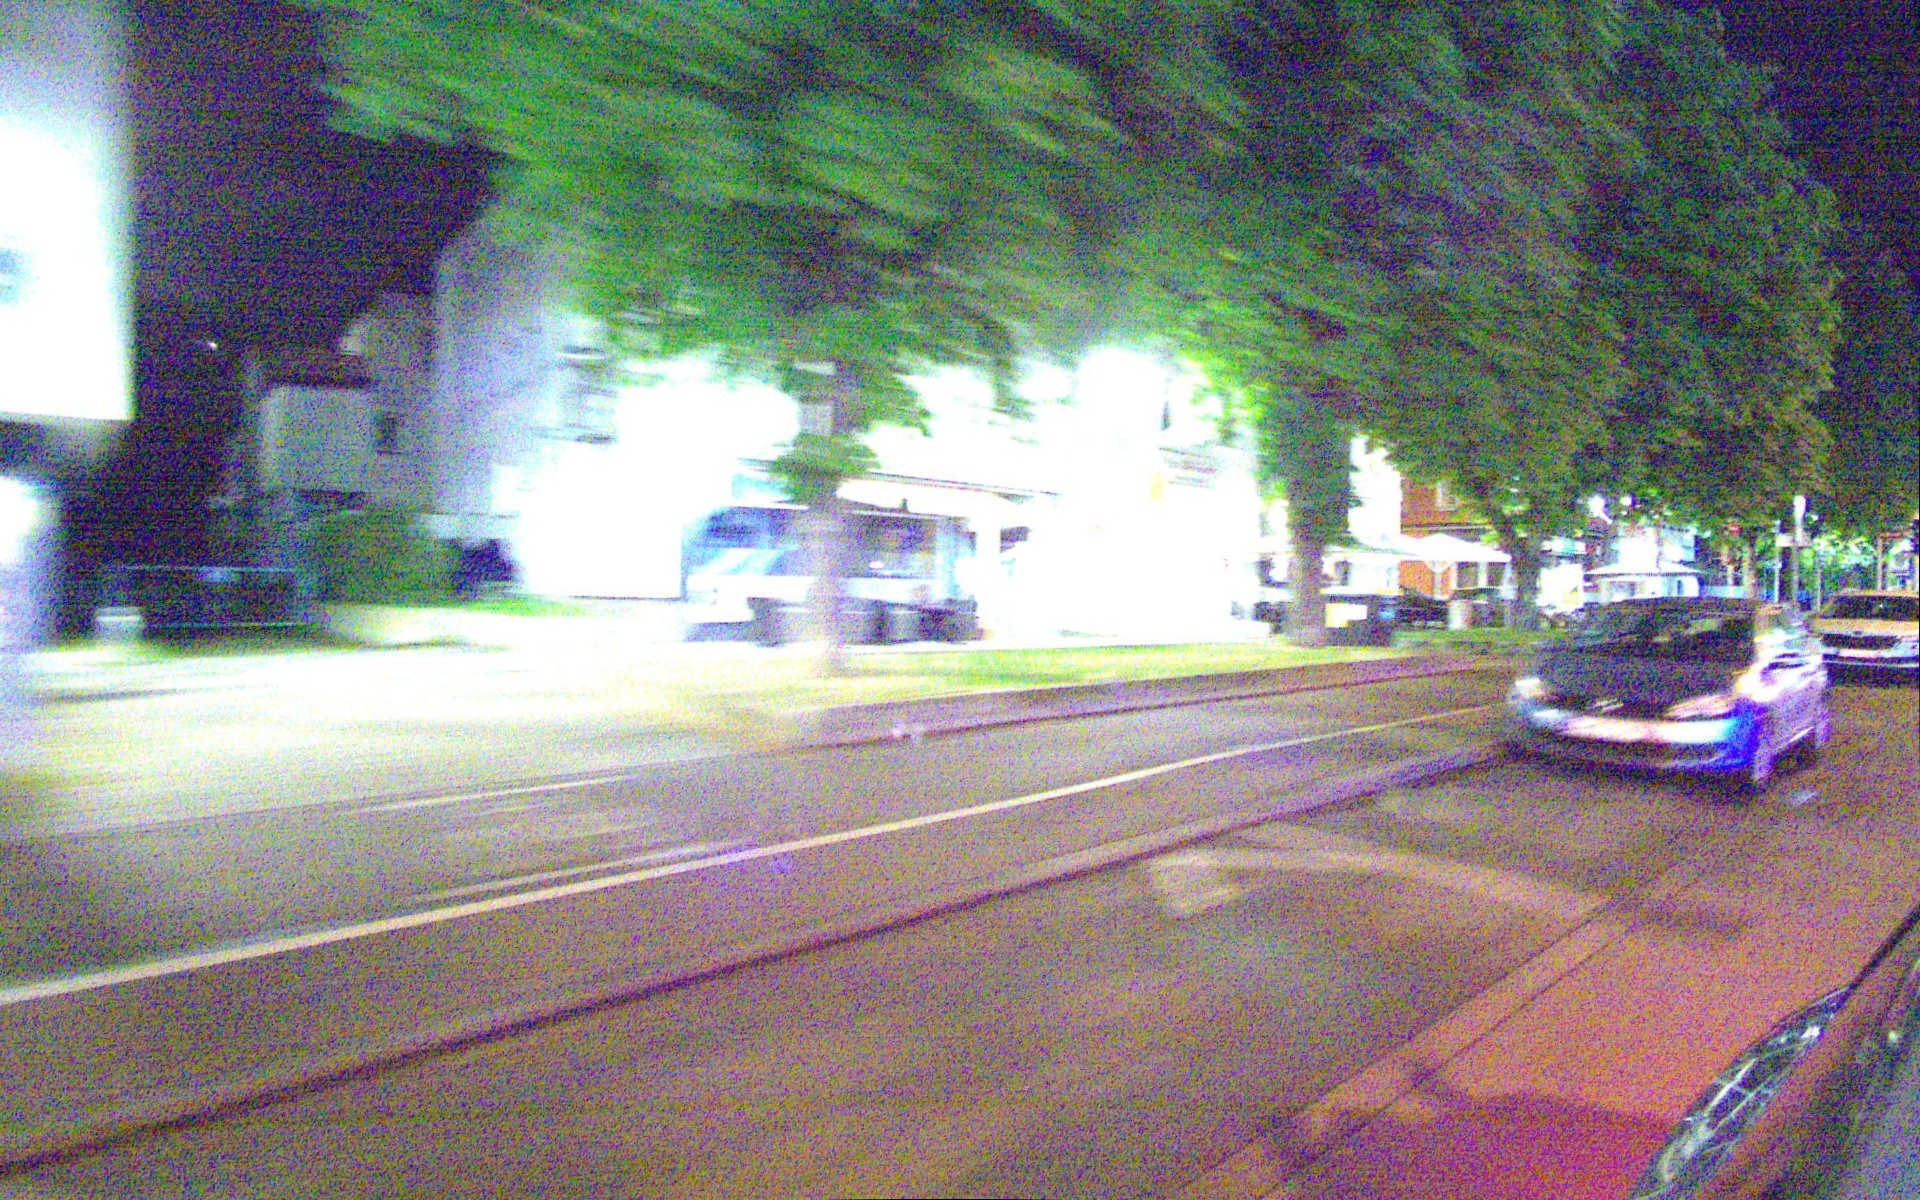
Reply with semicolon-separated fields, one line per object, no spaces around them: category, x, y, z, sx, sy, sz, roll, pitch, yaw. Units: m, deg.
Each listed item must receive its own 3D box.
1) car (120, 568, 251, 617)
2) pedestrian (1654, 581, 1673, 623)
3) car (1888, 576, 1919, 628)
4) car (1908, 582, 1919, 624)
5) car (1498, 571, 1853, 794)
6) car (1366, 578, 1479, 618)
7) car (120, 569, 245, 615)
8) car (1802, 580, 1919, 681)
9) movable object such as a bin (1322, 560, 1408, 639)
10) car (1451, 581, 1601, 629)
car;-25.865;-0.269;33.829;3.411;1.528;1.791;0;1;-41
pedestrian;27.595;0.077;39.699;0.364;1.607;0.482;0;1;-6
car;35.756;0.070;37.359;4.501;1.845;1.791;0;2;-43
car;40.068;0.131;41.354;4.225;1.680;1.686;0;2;-43
car;6.535;0.558;9.084;3.945;1.556;1.693;0;2;-41
car;20.347;-0.094;44.659;1.772;1.569;4.150;2;1;-42
car;-27.346;-0.297;35.630;3.411;1.528;1.791;0;1;-41
car;16.601;0.479;18.027;4.143;1.555;1.774;0;3;-41
movable object such as a bin;7.359;-0.014;18.412;0.976;1.388;1.162;0;0;-42
car;20.066;0.128;36.013;1.772;1.550;4.322;-2;3;-42
